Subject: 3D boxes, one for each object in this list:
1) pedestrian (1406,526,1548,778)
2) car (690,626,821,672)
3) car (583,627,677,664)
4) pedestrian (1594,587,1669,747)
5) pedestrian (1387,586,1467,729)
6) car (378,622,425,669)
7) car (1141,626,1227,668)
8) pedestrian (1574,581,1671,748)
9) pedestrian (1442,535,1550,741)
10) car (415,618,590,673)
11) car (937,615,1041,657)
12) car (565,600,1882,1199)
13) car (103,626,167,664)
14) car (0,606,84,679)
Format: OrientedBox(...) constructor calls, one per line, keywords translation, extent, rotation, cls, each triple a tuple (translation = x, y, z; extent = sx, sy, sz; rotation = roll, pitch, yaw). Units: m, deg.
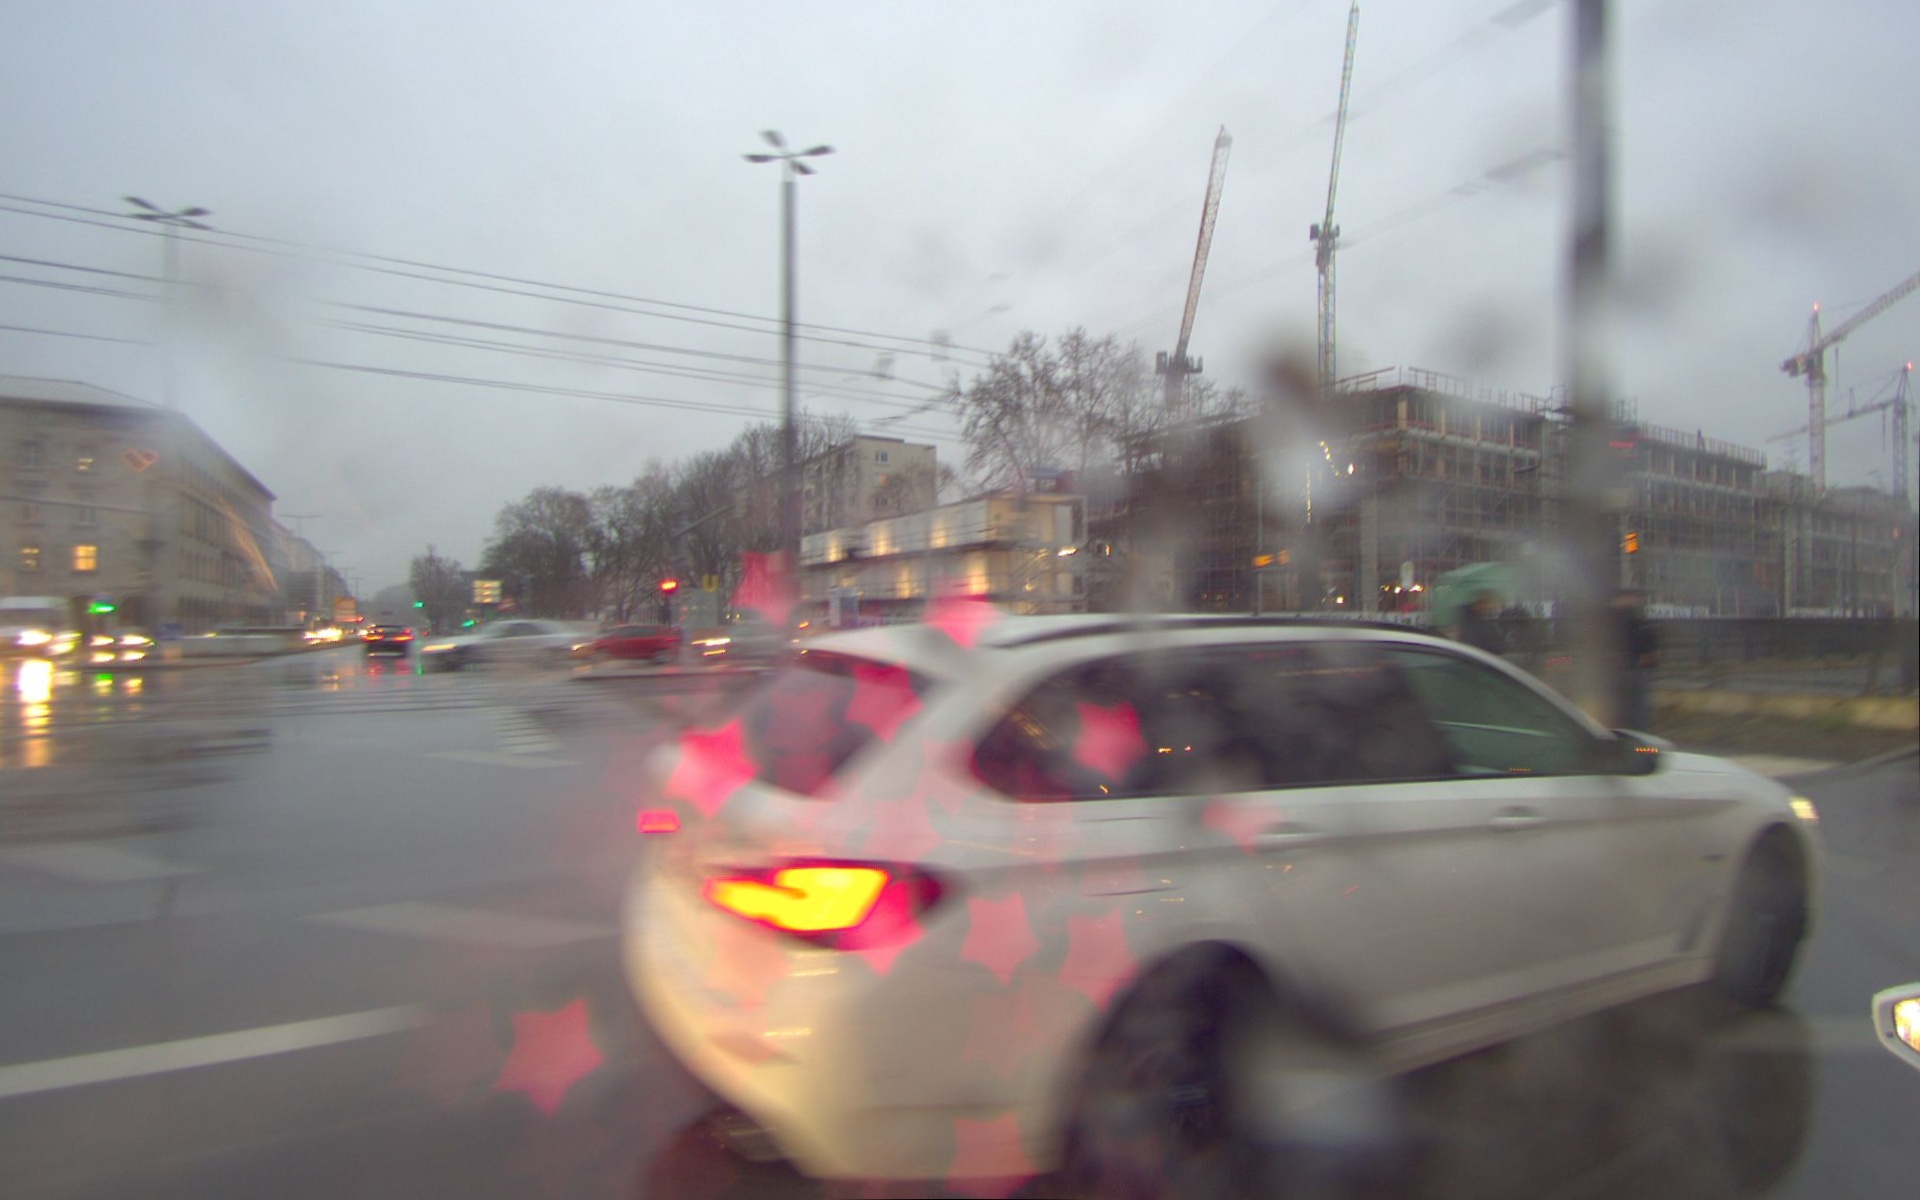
OrientedBox(translation=(4.804, 0.449, 9.336), extent=(1.011, 2.174, 0.894), rotation=(0, 0, -45), cls="pedestrian")
OrientedBox(translation=(-7.403, 1.732, 36.499), extent=(4.229, 1.479, 1.979), rotation=(1, 0, -37), cls="car")
OrientedBox(translation=(-12.407, 1.689, 37.756), extent=(3.124, 1.291, 1.438), rotation=(1, 0, -31), cls="car")
OrientedBox(translation=(7.619, 0.730, 11.426), extent=(0.642, 1.741, 0.749), rotation=(1, 0, 30), cls="pedestrian")
OrientedBox(translation=(5.935, 0.702, 12.753), extent=(0.845, 1.737, 0.763), rotation=(1, 0, 30), cls="pedestrian")
OrientedBox(translation=(-24.521, 1.952, 44.158), extent=(1.736, 1.904, 4.165), rotation=(1, 0, -29), cls="car")
OrientedBox(translation=(11.223, 2.307, 50.178), extent=(4.345, 1.898, 1.859), rotation=(1, 0, -37), cls="car")
OrientedBox(translation=(7.213, 0.685, 10.956), extent=(0.593, 1.758, 0.667), rotation=(2, 0, 3), cls="pedestrian")
OrientedBox(translation=(6.160, 0.412, 11.546), extent=(1.034, 2.237, 0.956), rotation=(1, 0, 30), cls="pedestrian")
OrientedBox(translation=(-13.640, 1.308, 30.095), extent=(4.407, 1.500, 1.975), rotation=(1, 0, -42), cls="car")
OrientedBox(translation=(1.254, 1.490, 42.450), extent=(4.194, 1.638, 1.859), rotation=(1, 0, -37), cls="car")
OrientedBox(translation=(1.227, 0.771, 3.785), extent=(4.885, 1.485, 1.844), rotation=(1, 0, -29), cls="car")
OrientedBox(translation=(-45.738, 2.478, 55.784), extent=(1.976, 1.904, 4.406), rotation=(1, 0, -29), cls="car")
OrientedBox(translation=(-37.272, 1.627, 40.537), extent=(1.976, 2.748, 4.406), rotation=(1, 0, -29), cls="car")
